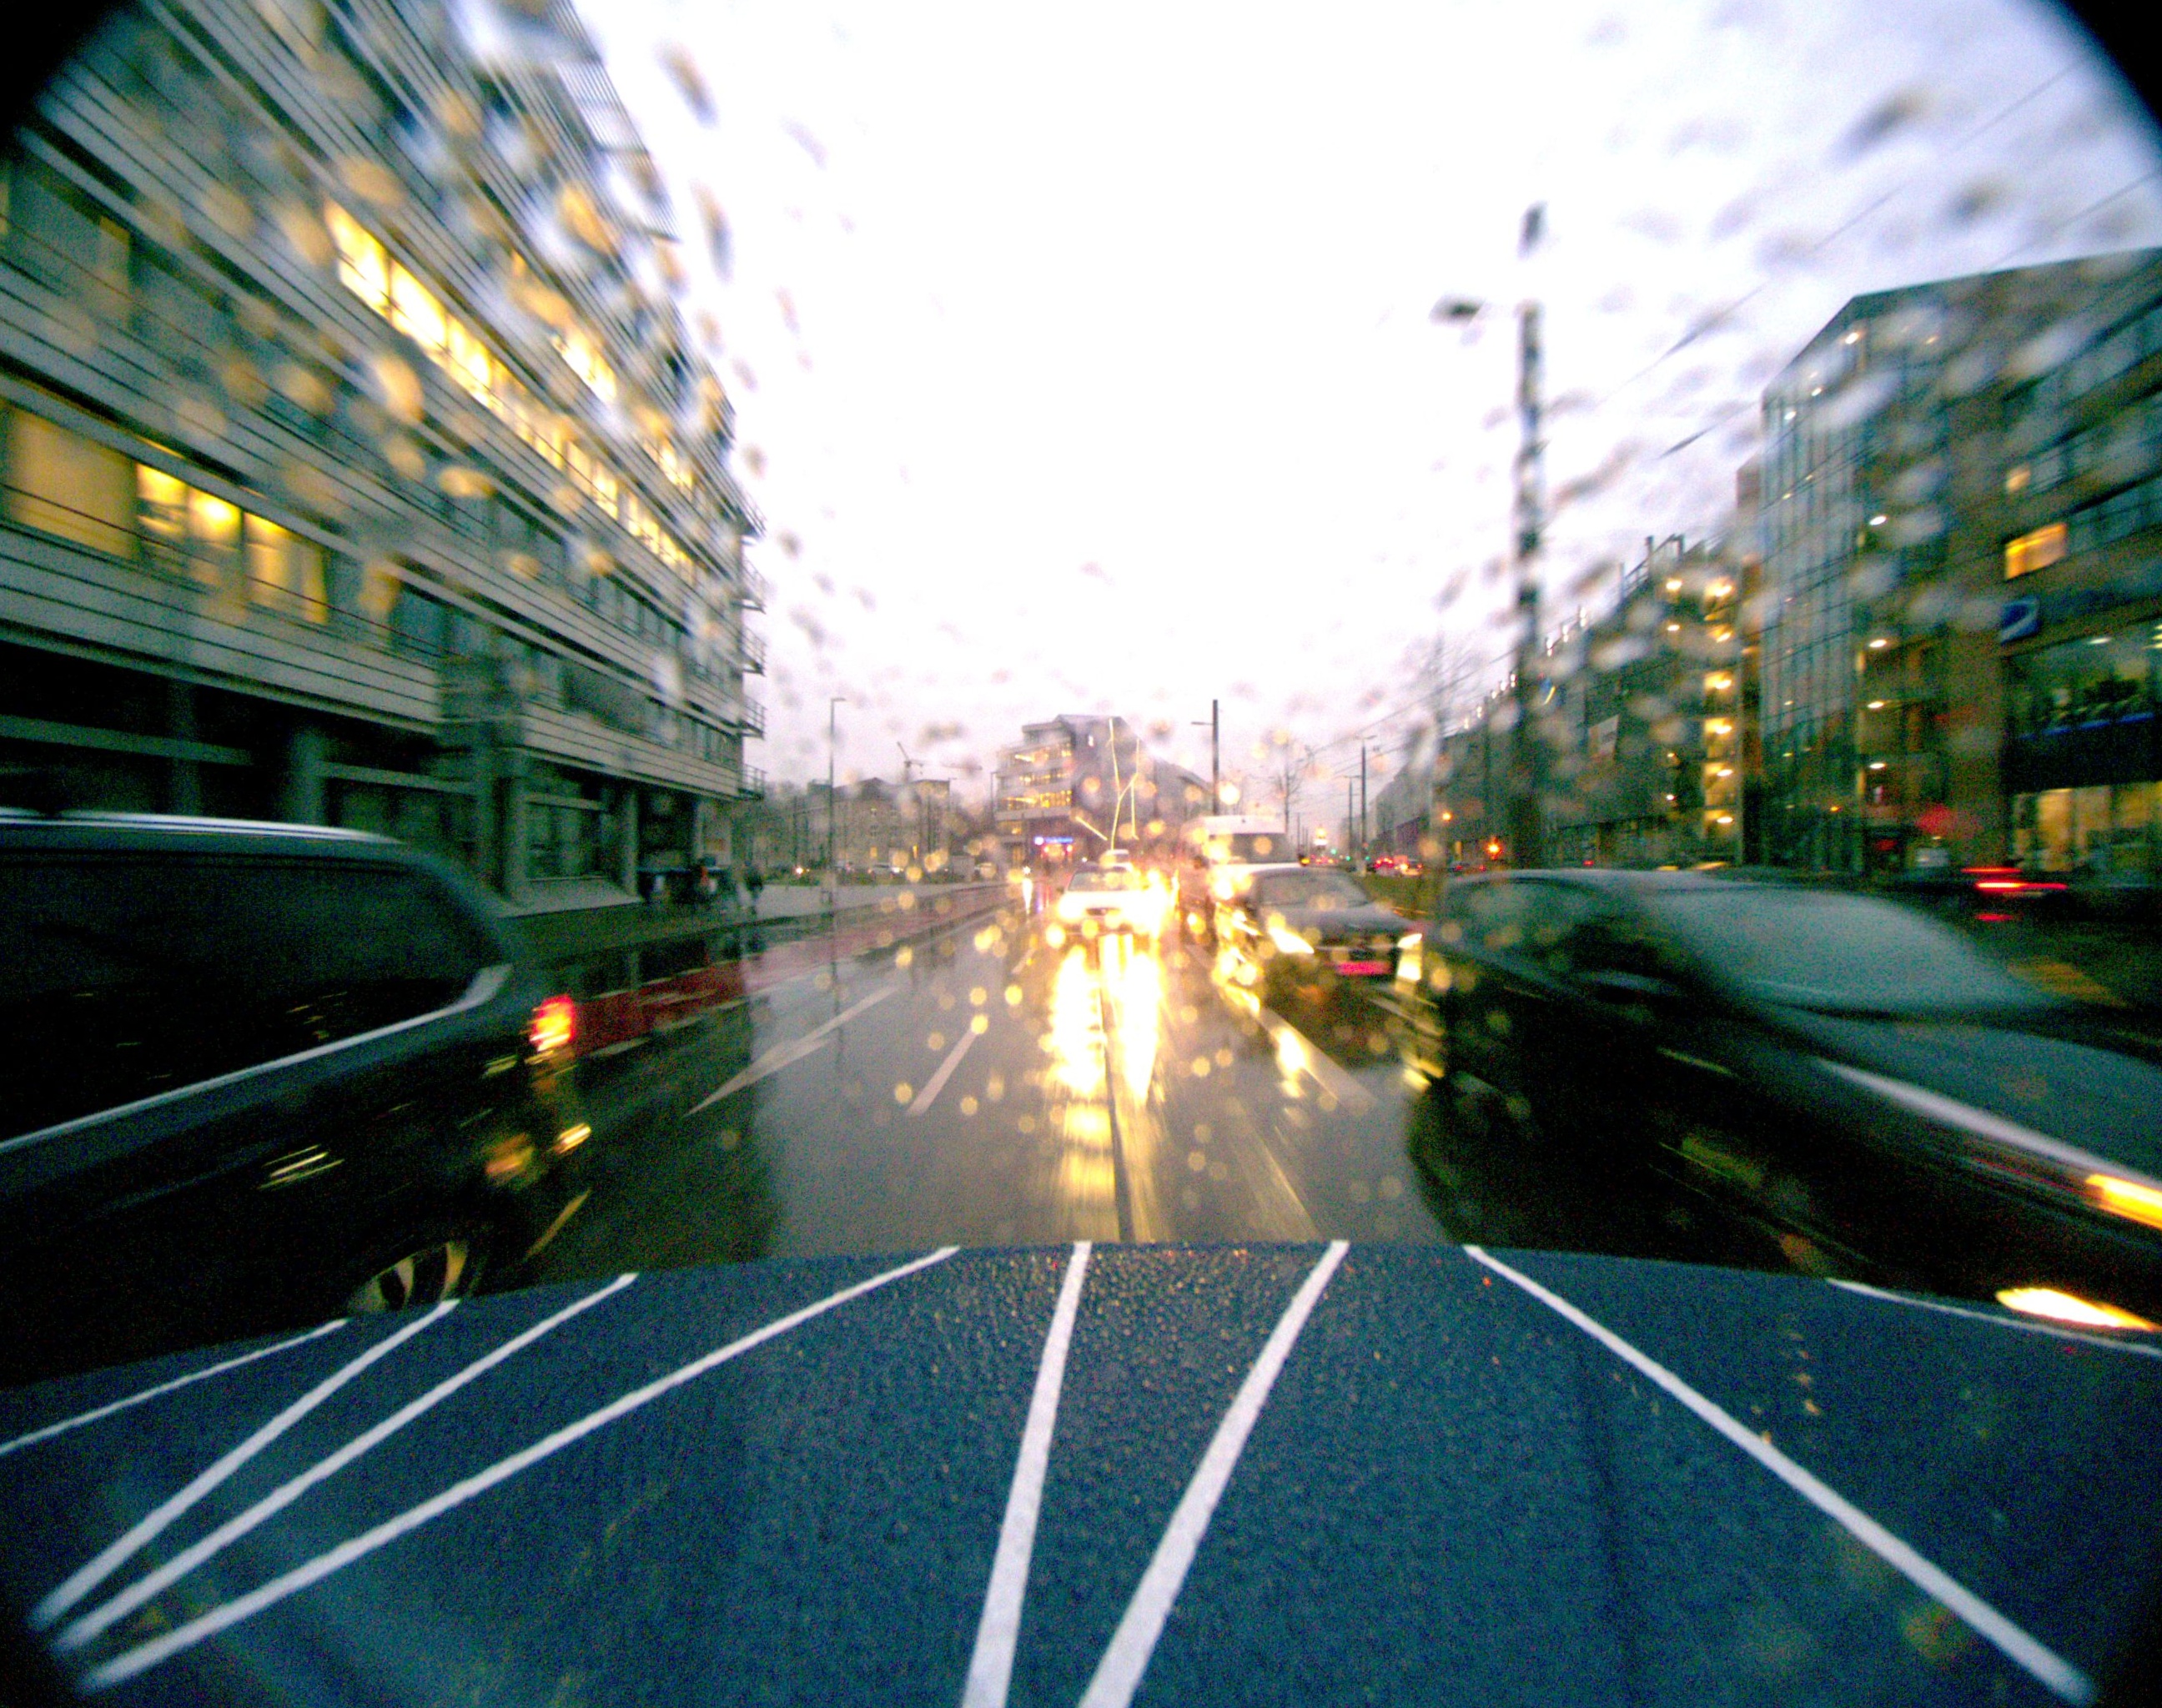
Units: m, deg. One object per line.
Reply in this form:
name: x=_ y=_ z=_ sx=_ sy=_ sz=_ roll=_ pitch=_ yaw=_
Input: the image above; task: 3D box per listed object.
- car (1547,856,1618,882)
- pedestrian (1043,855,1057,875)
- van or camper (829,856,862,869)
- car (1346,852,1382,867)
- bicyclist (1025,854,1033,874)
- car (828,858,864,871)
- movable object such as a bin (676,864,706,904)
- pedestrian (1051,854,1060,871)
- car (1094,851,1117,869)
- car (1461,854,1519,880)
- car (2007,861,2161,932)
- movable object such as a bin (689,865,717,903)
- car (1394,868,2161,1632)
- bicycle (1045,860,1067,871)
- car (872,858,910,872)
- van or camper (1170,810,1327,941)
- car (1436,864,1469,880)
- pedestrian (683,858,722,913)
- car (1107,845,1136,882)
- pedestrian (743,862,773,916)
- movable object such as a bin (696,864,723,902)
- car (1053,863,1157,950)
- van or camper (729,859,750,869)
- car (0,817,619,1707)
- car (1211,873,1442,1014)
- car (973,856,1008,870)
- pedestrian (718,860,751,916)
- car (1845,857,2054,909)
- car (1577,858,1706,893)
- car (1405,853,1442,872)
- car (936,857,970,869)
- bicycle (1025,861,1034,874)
car: x=30.046 y=0.872 z=45.650 sx=1.791 sy=1.412 sz=3.900 roll=-1 pitch=0 yaw=3
pedestrian: x=-3.059 y=1.053 z=75.235 sx=1.119 sy=2.002 sz=1.034 roll=0 pitch=1 yaw=13
van or camper: x=-36.202 y=1.291 z=116.735 sx=4.368 sy=1.839 sz=2.003 roll=-4 pitch=-1 yaw=20
car: x=28.698 y=0.564 z=77.113 sx=1.793 sy=1.412 sz=3.896 roll=-1 pitch=0 yaw=-8
bicyclist: x=-4.630 y=0.918 z=68.030 sx=0.672 sy=1.787 sz=0.806 roll=-1 pitch=0 yaw=-7
car: x=-31.088 y=1.428 z=100.524 sx=3.997 sy=1.663 sz=2.002 roll=-1 pitch=0 yaw=15
movable object such as a bin: x=-14.500 y=1.108 z=28.273 sx=0.666 sy=1.420 sz=0.840 roll=-1 pitch=0 yaw=-4
pedestrian: x=-2.671 y=0.940 z=80.177 sx=0.892 sy=1.783 sz=0.668 roll=0 pitch=1 yaw=5
car: x=2.613 y=0.663 z=82.607 sx=2.170 sy=1.744 sz=4.540 roll=1 pitch=2 yaw=-1
car: x=23.943 y=0.753 z=44.628 sx=1.791 sy=1.412 sz=3.901 roll=-1 pitch=0 yaw=8
car: x=22.170 y=0.850 z=15.140 sx=1.630 sy=1.322 sz=4.565 roll=-2 pitch=0 yaw=-5
movable object such as a bin: x=-14.520 y=1.128 z=29.169 sx=0.666 sy=1.420 sz=0.840 roll=-1 pitch=0 yaw=-4
car: x=3.022 y=0.860 z=3.287 sx=1.634 sy=1.514 sz=3.941 roll=0 pitch=0 yaw=-1
bicycle: x=-2.641 y=1.230 z=80.195 sx=2.203 sy=1.182 sz=0.668 roll=0 pitch=0 yaw=5
car: x=-24.584 y=1.377 z=98.344 sx=4.368 sy=1.750 sz=2.002 roll=-1 pitch=0 yaw=15
van or camper: x=3.581 y=0.417 z=17.644 sx=2.154 sy=2.517 sz=5.897 roll=-1 pitch=0 yaw=-2
car: x=34.401 y=1.664 z=70.387 sx=1.656 sy=1.412 sz=3.700 roll=-1 pitch=0 yaw=8
pedestrian: x=-12.090 y=0.991 z=24.288 sx=0.747 sy=1.692 sz=0.968 roll=2 pitch=0 yaw=-4
car: x=3.352 y=0.731 z=61.826 sx=2.128 sy=2.847 sz=5.816 roll=-1 pitch=0 yaw=5
pedestrian: x=-10.155 y=1.083 z=23.906 sx=0.616 sy=1.658 sz=0.884 roll=1 pitch=0 yaw=-4
movable object such as a bin: x=-14.710 y=1.137 z=30.094 sx=0.666 sy=1.468 sz=0.840 roll=-1 pitch=0 yaw=-4
car: x=0.393 y=0.937 z=15.147 sx=1.782 sy=1.464 sz=3.943 roll=-1 pitch=0 yaw=-1
van or camper: x=-60.580 y=1.812 z=134.653 sx=3.826 sy=1.689 sz=1.813 roll=-1 pitch=0 yaw=39
car: x=-2.683 y=0.869 z=0.447 sx=1.888 sy=1.800 sz=4.671 roll=-2 pitch=0 yaw=0
car: x=2.868 y=0.972 z=9.829 sx=1.759 sy=1.337 sz=4.057 roll=-1 pitch=0 yaw=1
car: x=-11.205 y=1.139 z=94.492 sx=3.918 sy=1.699 sz=1.782 roll=-1 pitch=0 yaw=13
pedestrian: x=-10.854 y=1.042 z=23.806 sx=0.651 sy=1.692 sz=0.884 roll=1 pitch=0 yaw=-4
car: x=27.683 y=0.859 z=24.479 sx=1.844 sy=1.495 sz=4.288 roll=-1 pitch=0 yaw=0
car: x=21.753 y=0.781 z=29.726 sx=1.844 sy=1.230 sz=4.374 roll=-1 pitch=0 yaw=1
car: x=27.313 y=0.684 z=60.717 sx=1.790 sy=1.412 sz=3.902 roll=-1 pitch=0 yaw=10
car: x=-16.123 y=1.162 z=95.549 sx=3.759 sy=1.528 sz=1.782 roll=0 pitch=0 yaw=16
bicycle: x=-4.629 y=1.216 z=68.155 sx=0.681 sy=1.191 sz=1.760 roll=-1 pitch=0 yaw=-6
